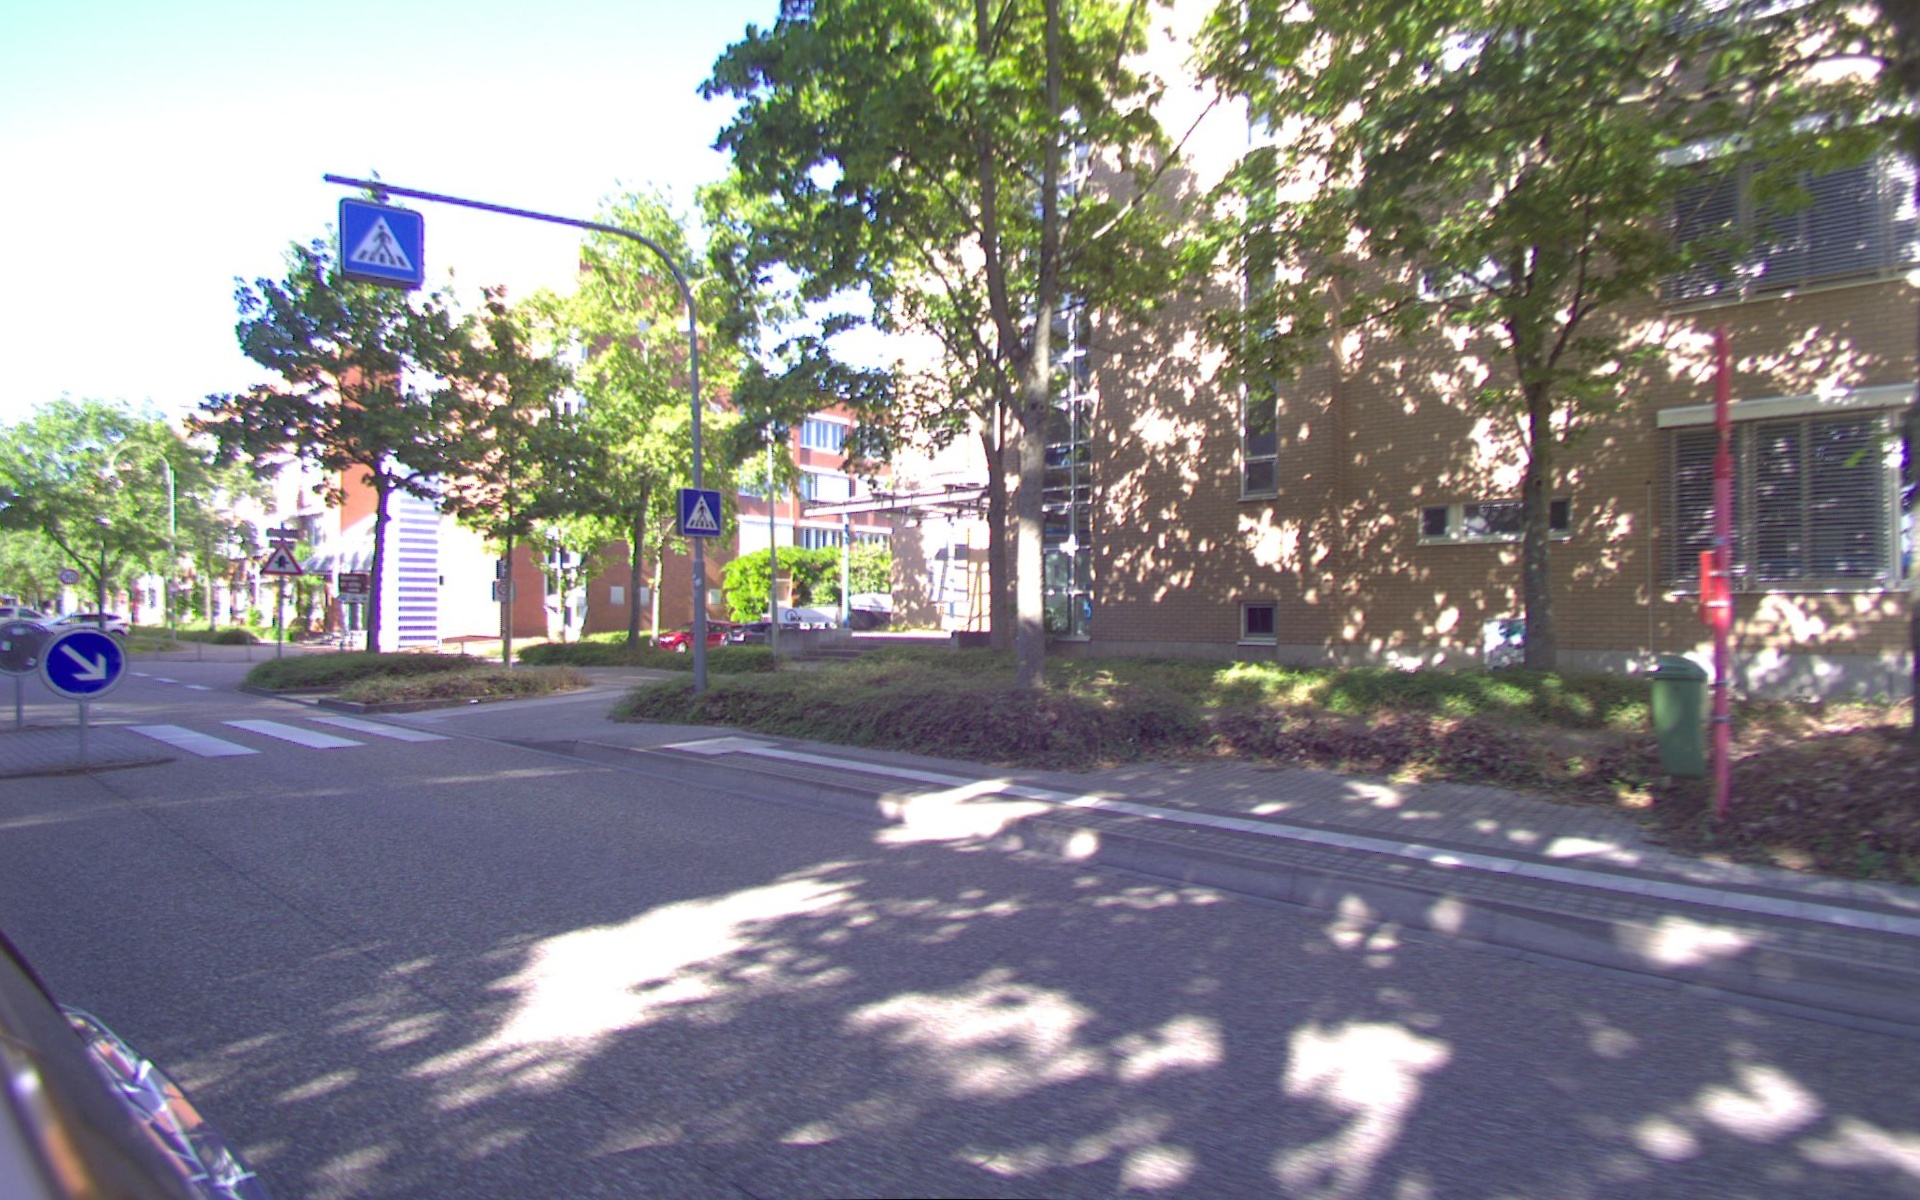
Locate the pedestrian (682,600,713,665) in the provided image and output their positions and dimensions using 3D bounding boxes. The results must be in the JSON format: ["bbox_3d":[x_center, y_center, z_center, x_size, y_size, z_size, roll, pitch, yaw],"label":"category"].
[{"bbox_3d":[-7.927,0.990,30.587,0.672,1.932,0.615,-1,-2,43],"label":"pedestrian"}]

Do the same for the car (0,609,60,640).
[{"bbox_3d":[-59.037,1.489,62.306,2.000,1.901,5.247,-1,-2,42],"label":"car"}]

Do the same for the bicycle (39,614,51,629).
[{"bbox_3d":[-71.326,1.637,78.896,0.628,1.107,2.156,-1,1,-45],"label":"bicycle"}]

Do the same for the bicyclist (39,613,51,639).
[{"bbox_3d":[-71.279,2.003,78.859,0.609,2.029,0.625,0,0,44],"label":"bicyclist"}]

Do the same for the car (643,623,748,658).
[{"bbox_3d":[-12.054,1.807,46.278,1.847,1.463,4.379,-1,-1,42],"label":"car"}]

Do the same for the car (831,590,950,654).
[{"bbox_3d":[-2.909,0.925,43.560,1.922,2.588,5.405,-1,-1,40],"label":"car"}]

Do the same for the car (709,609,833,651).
[{"bbox_3d":[-7.167,1.102,38.789,1.845,1.519,4.663,-1,-1,38],"label":"car"}]

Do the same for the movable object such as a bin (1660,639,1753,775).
[{"bbox_3d":[4.423,0.613,5.992,0.408,0.736,0.437,0,0,41],"label":"movable object such as a bin"}]

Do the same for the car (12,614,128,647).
[{"bbox_3d":[-41.928,1.423,47.731,1.617,1.430,3.952,-1,0,40],"label":"car"}]
